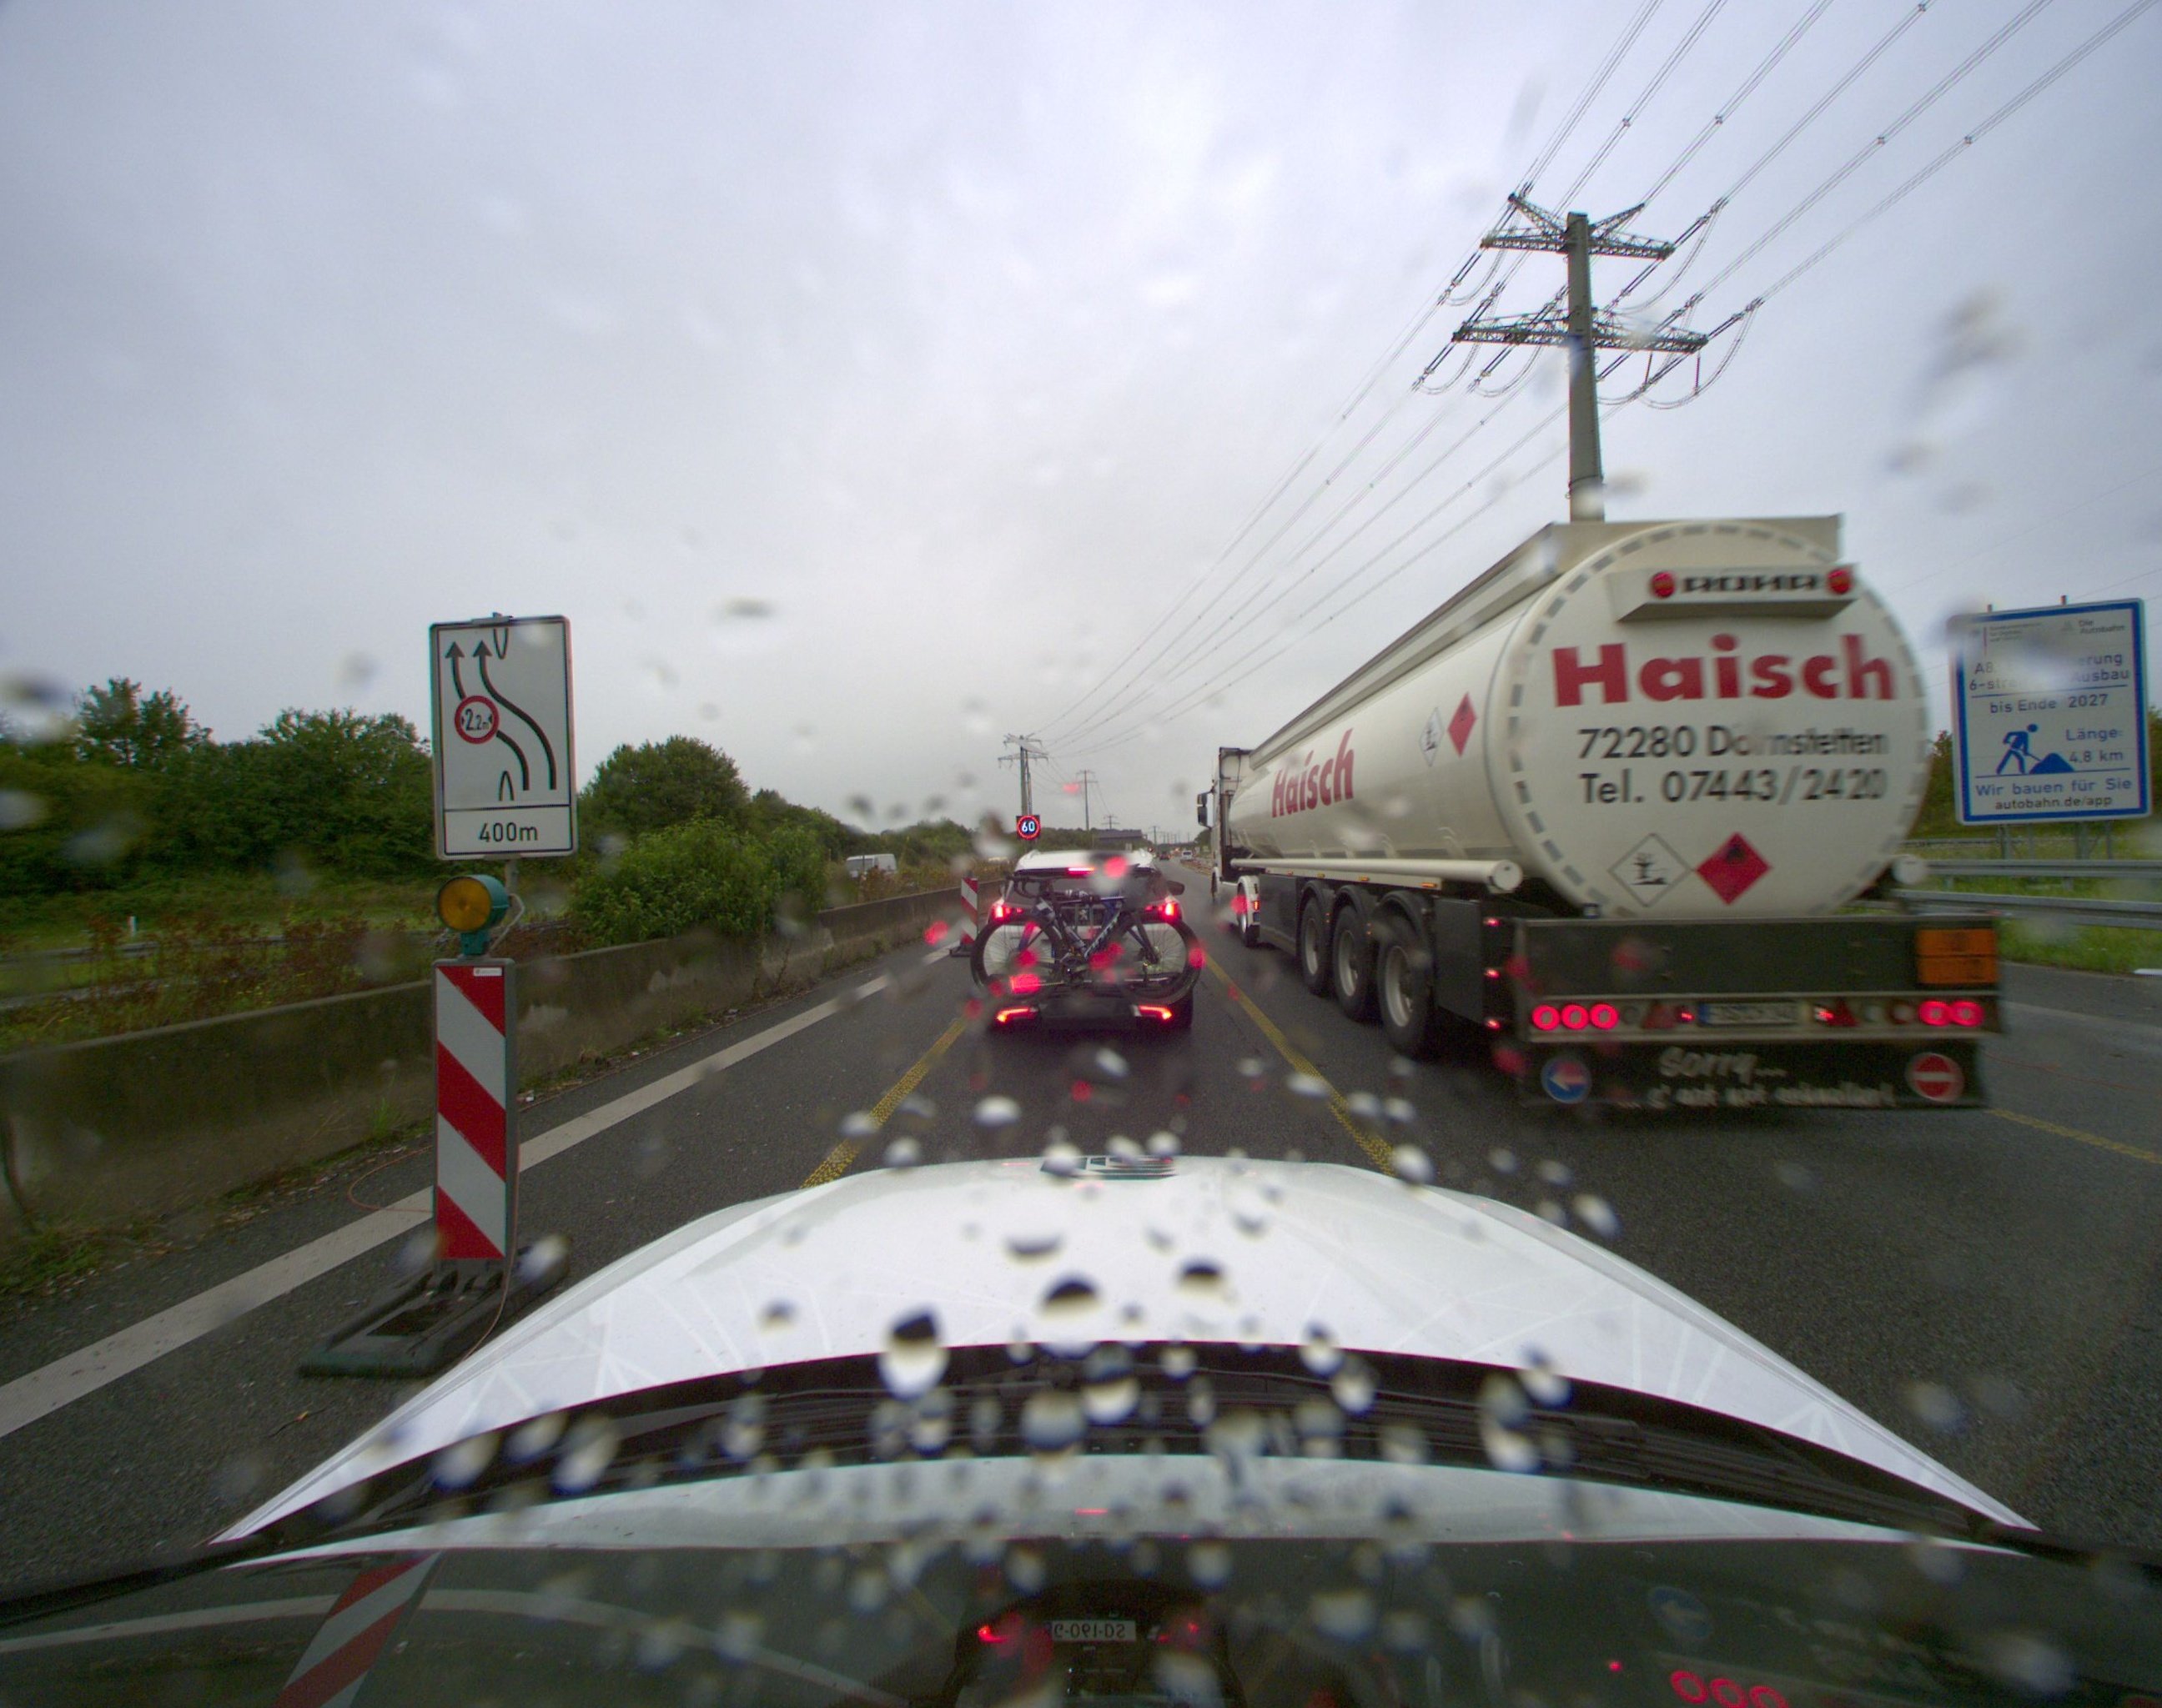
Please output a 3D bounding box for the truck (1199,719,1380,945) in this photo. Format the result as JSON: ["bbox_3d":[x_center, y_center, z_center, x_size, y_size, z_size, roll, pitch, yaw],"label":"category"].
[{"bbox_3d":[3.902,-0.361,16.146,2.635,3.891,4.031,0,-1,2],"label":"truck"}]

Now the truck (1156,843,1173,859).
[{"bbox_3d":[21.260,-0.660,207.851,3.715,3.822,11.880,-2,0,4],"label":"truck"}]

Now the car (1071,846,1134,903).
[{"bbox_3d":[0.815,0.651,28.311,1.985,1.760,4.004,-3,0,3],"label":"car"}]

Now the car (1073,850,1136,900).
[{"bbox_3d":[0.828,0.665,28.205,1.986,1.584,4.002,-1,0,2],"label":"car"}]

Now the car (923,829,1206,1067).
[{"bbox_3d":[0.047,0.650,7.876,1.919,1.611,4.600,-1,0,4],"label":"car"}]

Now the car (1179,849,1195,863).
[{"bbox_3d":[16.637,0.305,127.568,1.986,2.013,4.002,-3,0,2],"label":"car"}]

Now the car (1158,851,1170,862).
[{"bbox_3d":[16.162,0.550,159.301,1.986,2.014,4.001,0,-1,2],"label":"car"}]

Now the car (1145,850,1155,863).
[{"bbox_3d":[11.564,0.395,136.769,1.645,2.013,4.007,-1,0,6],"label":"car"}]

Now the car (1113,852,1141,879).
[{"bbox_3d":[3.513,0.858,62.699,1.986,2.014,4.001,0,-1,2],"label":"car"}]

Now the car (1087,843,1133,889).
[{"bbox_3d":[1.382,0.535,38.603,1.986,2.013,4.002,-3,0,2],"label":"car"}]

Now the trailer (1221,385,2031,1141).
[{"bbox_3d":[3.700,-0.421,9.484,2.628,3.893,10.547,0,-1,2],"label":"trailer"}]

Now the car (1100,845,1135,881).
[{"bbox_3d":[2.240,0.519,50.374,1.986,2.013,4.002,-3,0,2],"label":"car"}]

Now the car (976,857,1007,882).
[{"bbox_3d":[-8.100,1.350,73.991,1.985,2.047,4.782,-2,0,3],"label":"car"}]

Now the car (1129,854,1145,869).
[{"bbox_3d":[7.529,1.018,109.325,1.986,2.014,4.001,0,-1,2],"label":"car"}]

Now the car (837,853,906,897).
[{"bbox_3d":[-12.905,1.200,50.539,2.229,2.440,5.891,-2,0,5],"label":"car"}]
